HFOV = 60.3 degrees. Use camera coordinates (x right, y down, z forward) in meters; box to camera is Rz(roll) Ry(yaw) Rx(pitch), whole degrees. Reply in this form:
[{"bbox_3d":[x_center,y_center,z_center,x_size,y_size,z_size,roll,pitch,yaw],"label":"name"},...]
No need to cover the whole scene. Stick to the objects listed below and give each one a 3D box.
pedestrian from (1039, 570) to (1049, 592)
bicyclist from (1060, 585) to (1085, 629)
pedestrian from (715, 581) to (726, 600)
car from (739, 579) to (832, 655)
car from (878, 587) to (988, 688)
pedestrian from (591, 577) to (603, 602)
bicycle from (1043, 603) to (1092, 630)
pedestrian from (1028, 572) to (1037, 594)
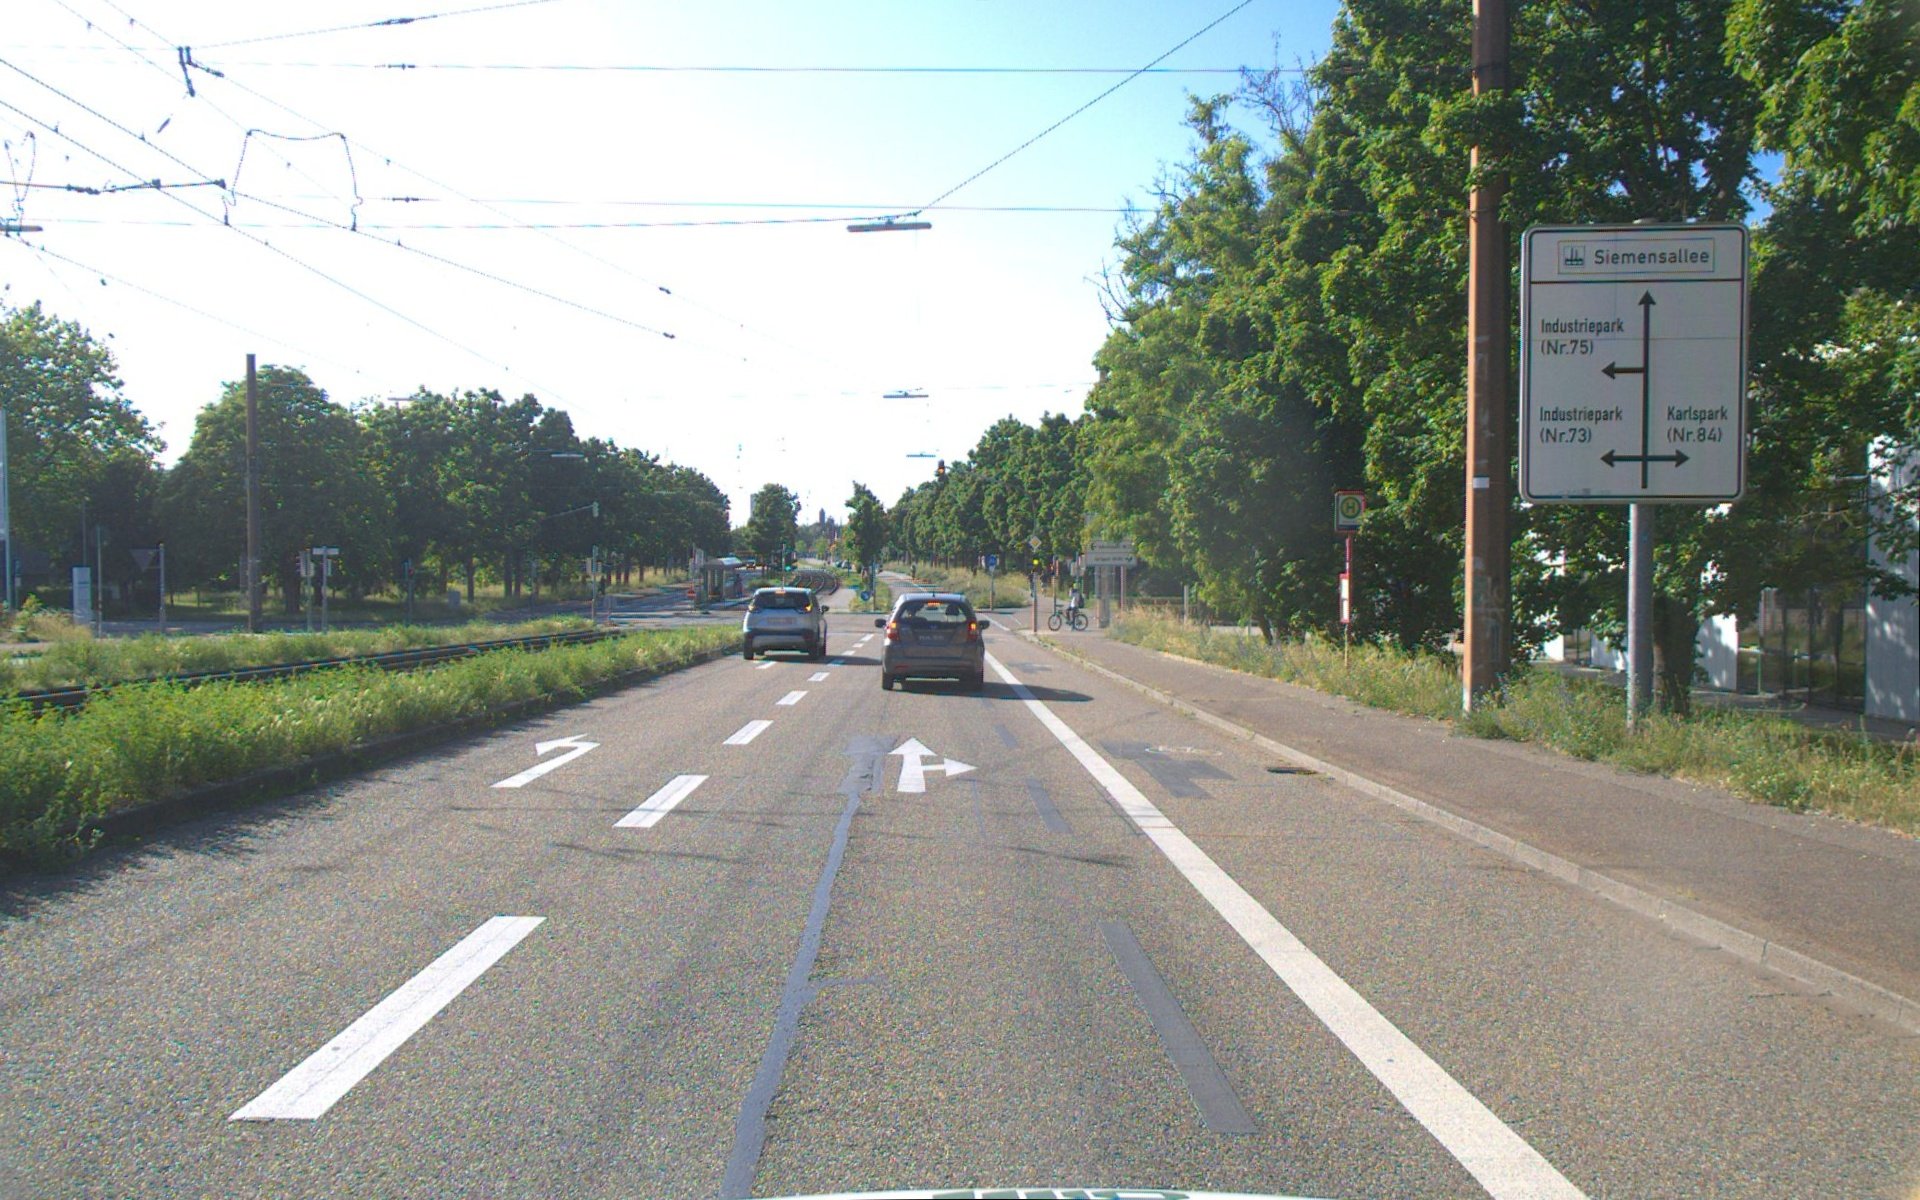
[{"bbox_3d":[6.244,-1.406,122.656,0.664,1.638,0.720,2,0,-3],"label":"pedestrian"},{"bbox_3d":[4.573,0.289,67.228,0.890,1.775,0.765,-1,0,10],"label":"bicyclist"},{"bbox_3d":[-16.388,-0.650,113.110,0.706,1.267,0.710,0,0,-3],"label":"pedestrian"},{"bbox_3d":[-3.987,0.366,38.380,1.813,1.634,4.253,1,0,-2],"label":"car"},{"bbox_3d":[-0.433,0.579,27.710,1.672,1.535,4.000,1,0,0],"label":"car"},{"bbox_3d":[-29.335,-0.833,133.666,0.823,2.049,0.863,1,0,-3],"label":"pedestrian"},{"bbox_3d":[4.374,0.669,67.262,1.879,1.015,0.765,-2,0,10],"label":"bicycle"},{"bbox_3d":[5.397,-1.258,122.665,0.556,1.624,0.665,2,0,-5],"label":"pedestrian"}]
